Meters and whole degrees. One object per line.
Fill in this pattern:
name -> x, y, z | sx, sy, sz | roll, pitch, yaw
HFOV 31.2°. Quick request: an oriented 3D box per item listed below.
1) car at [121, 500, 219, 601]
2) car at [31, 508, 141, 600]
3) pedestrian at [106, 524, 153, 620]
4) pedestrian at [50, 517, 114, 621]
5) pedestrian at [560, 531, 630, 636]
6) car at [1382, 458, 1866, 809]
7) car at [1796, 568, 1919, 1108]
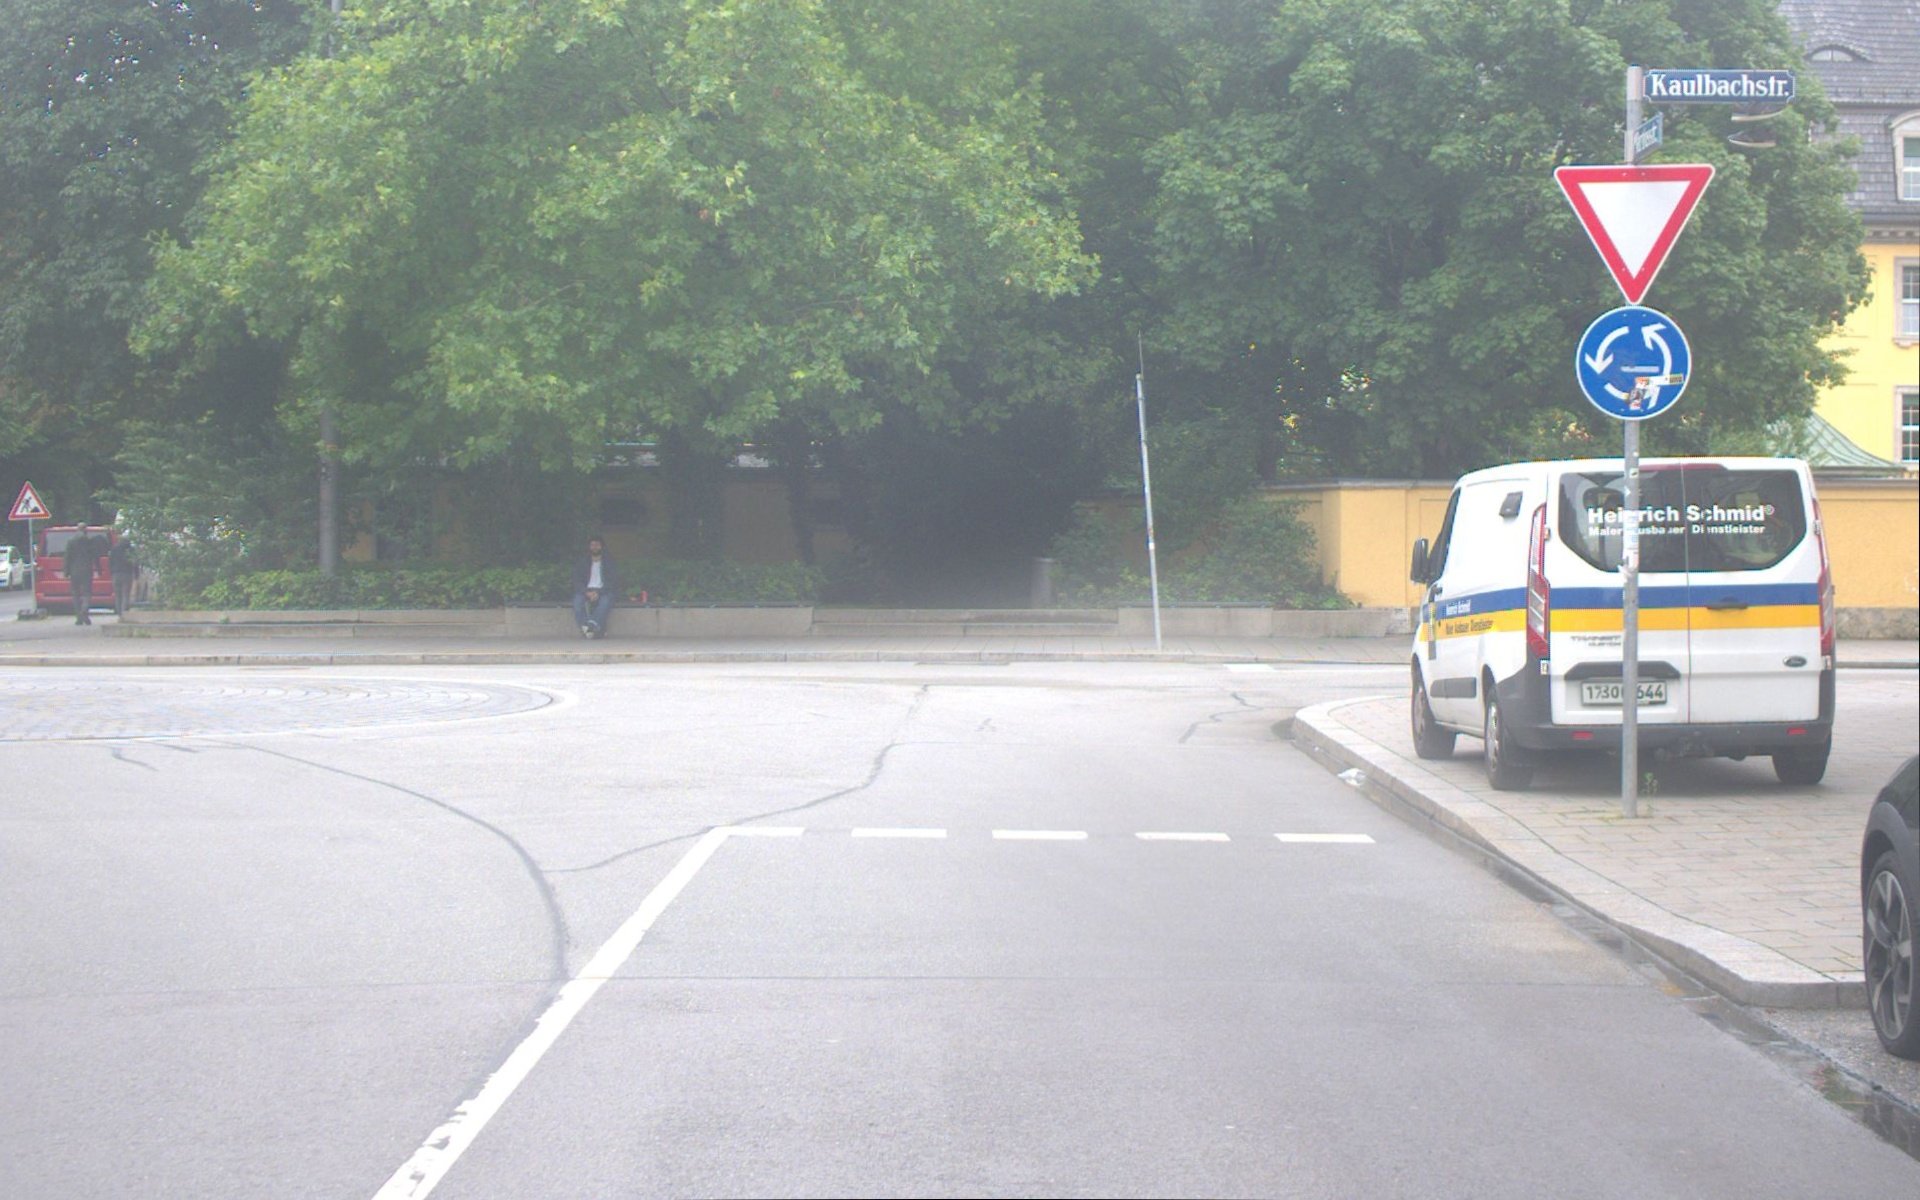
car -> -20.679, -1.309, 90.185 | 1.993, 2.549, 5.432 | 0, 1, -8
car -> -18.851, -1.004, 74.325 | 1.911, 1.930, 4.970 | 0, 1, -10
pedestrian -> -14.626, -0.498, 60.528 | 0.633, 1.661, 0.697 | -1, 1, -30
pedestrian -> -15.538, -0.554, 60.838 | 0.820, 1.830, 0.952 | -1, 1, -35
pedestrian -> -4.738, -0.221, 44.712 | 0.769, 1.352, 1.131 | 0, 1, 1
car -> 4.015, 0.127, 21.751 | 1.938, 1.915, 5.375 | -1, 1, -1
car -> 3.443, 0.658, 8.769 | 1.712, 1.440, 3.827 | 0, 1, 0
